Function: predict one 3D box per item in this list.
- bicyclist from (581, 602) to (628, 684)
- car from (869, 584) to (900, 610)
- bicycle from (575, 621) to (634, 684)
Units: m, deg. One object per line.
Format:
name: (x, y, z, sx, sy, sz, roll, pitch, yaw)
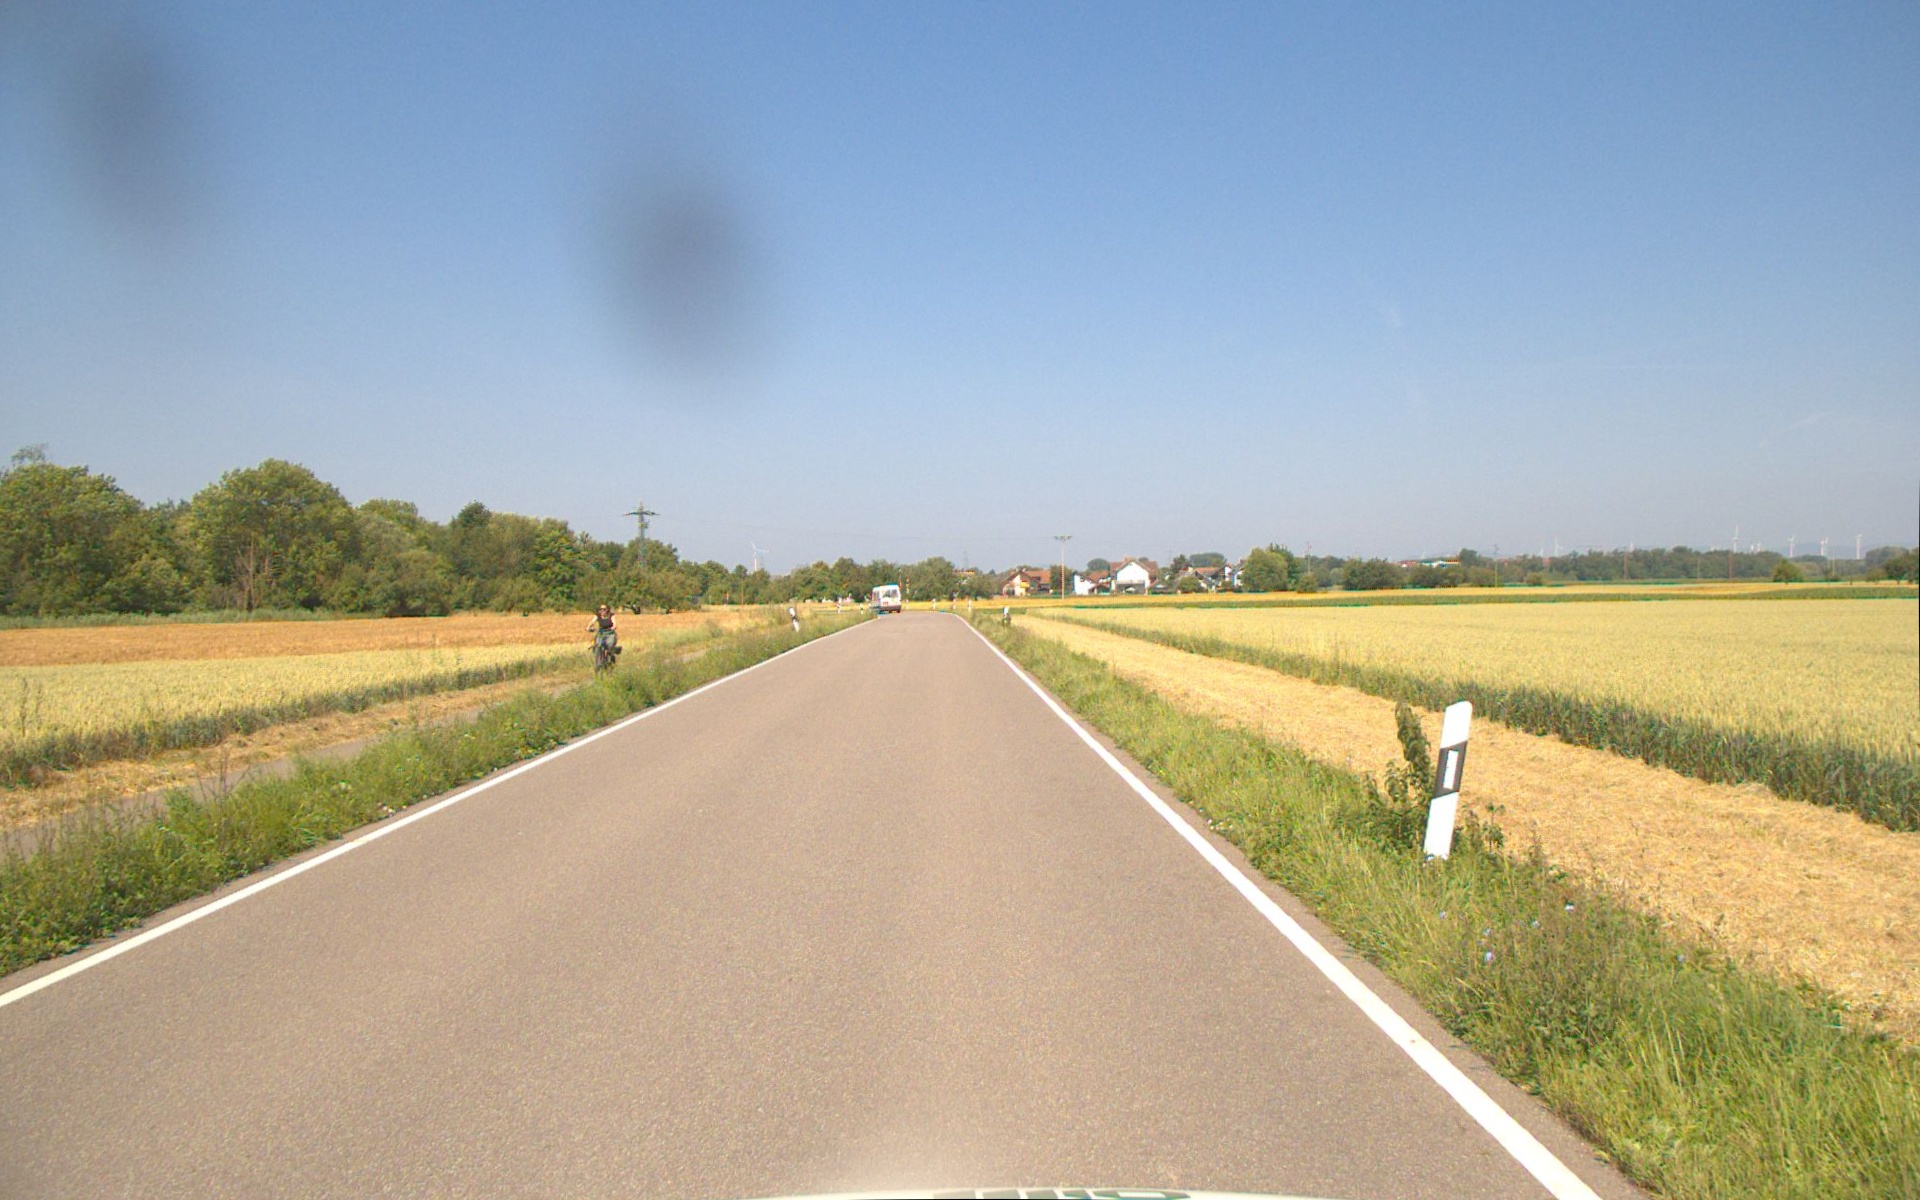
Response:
bicyclist: (-7.717, 0.920, 35.925, 0.744, 1.702, 1.088, -2, 0, -1)
car: (-6.943, -0.265, 150.955, 2.069, 2.344, 5.481, 1, 0, -11)
bicycle: (-7.717, 1.128, 36.004, 0.744, 1.257, 2.393, -3, 0, -1)
